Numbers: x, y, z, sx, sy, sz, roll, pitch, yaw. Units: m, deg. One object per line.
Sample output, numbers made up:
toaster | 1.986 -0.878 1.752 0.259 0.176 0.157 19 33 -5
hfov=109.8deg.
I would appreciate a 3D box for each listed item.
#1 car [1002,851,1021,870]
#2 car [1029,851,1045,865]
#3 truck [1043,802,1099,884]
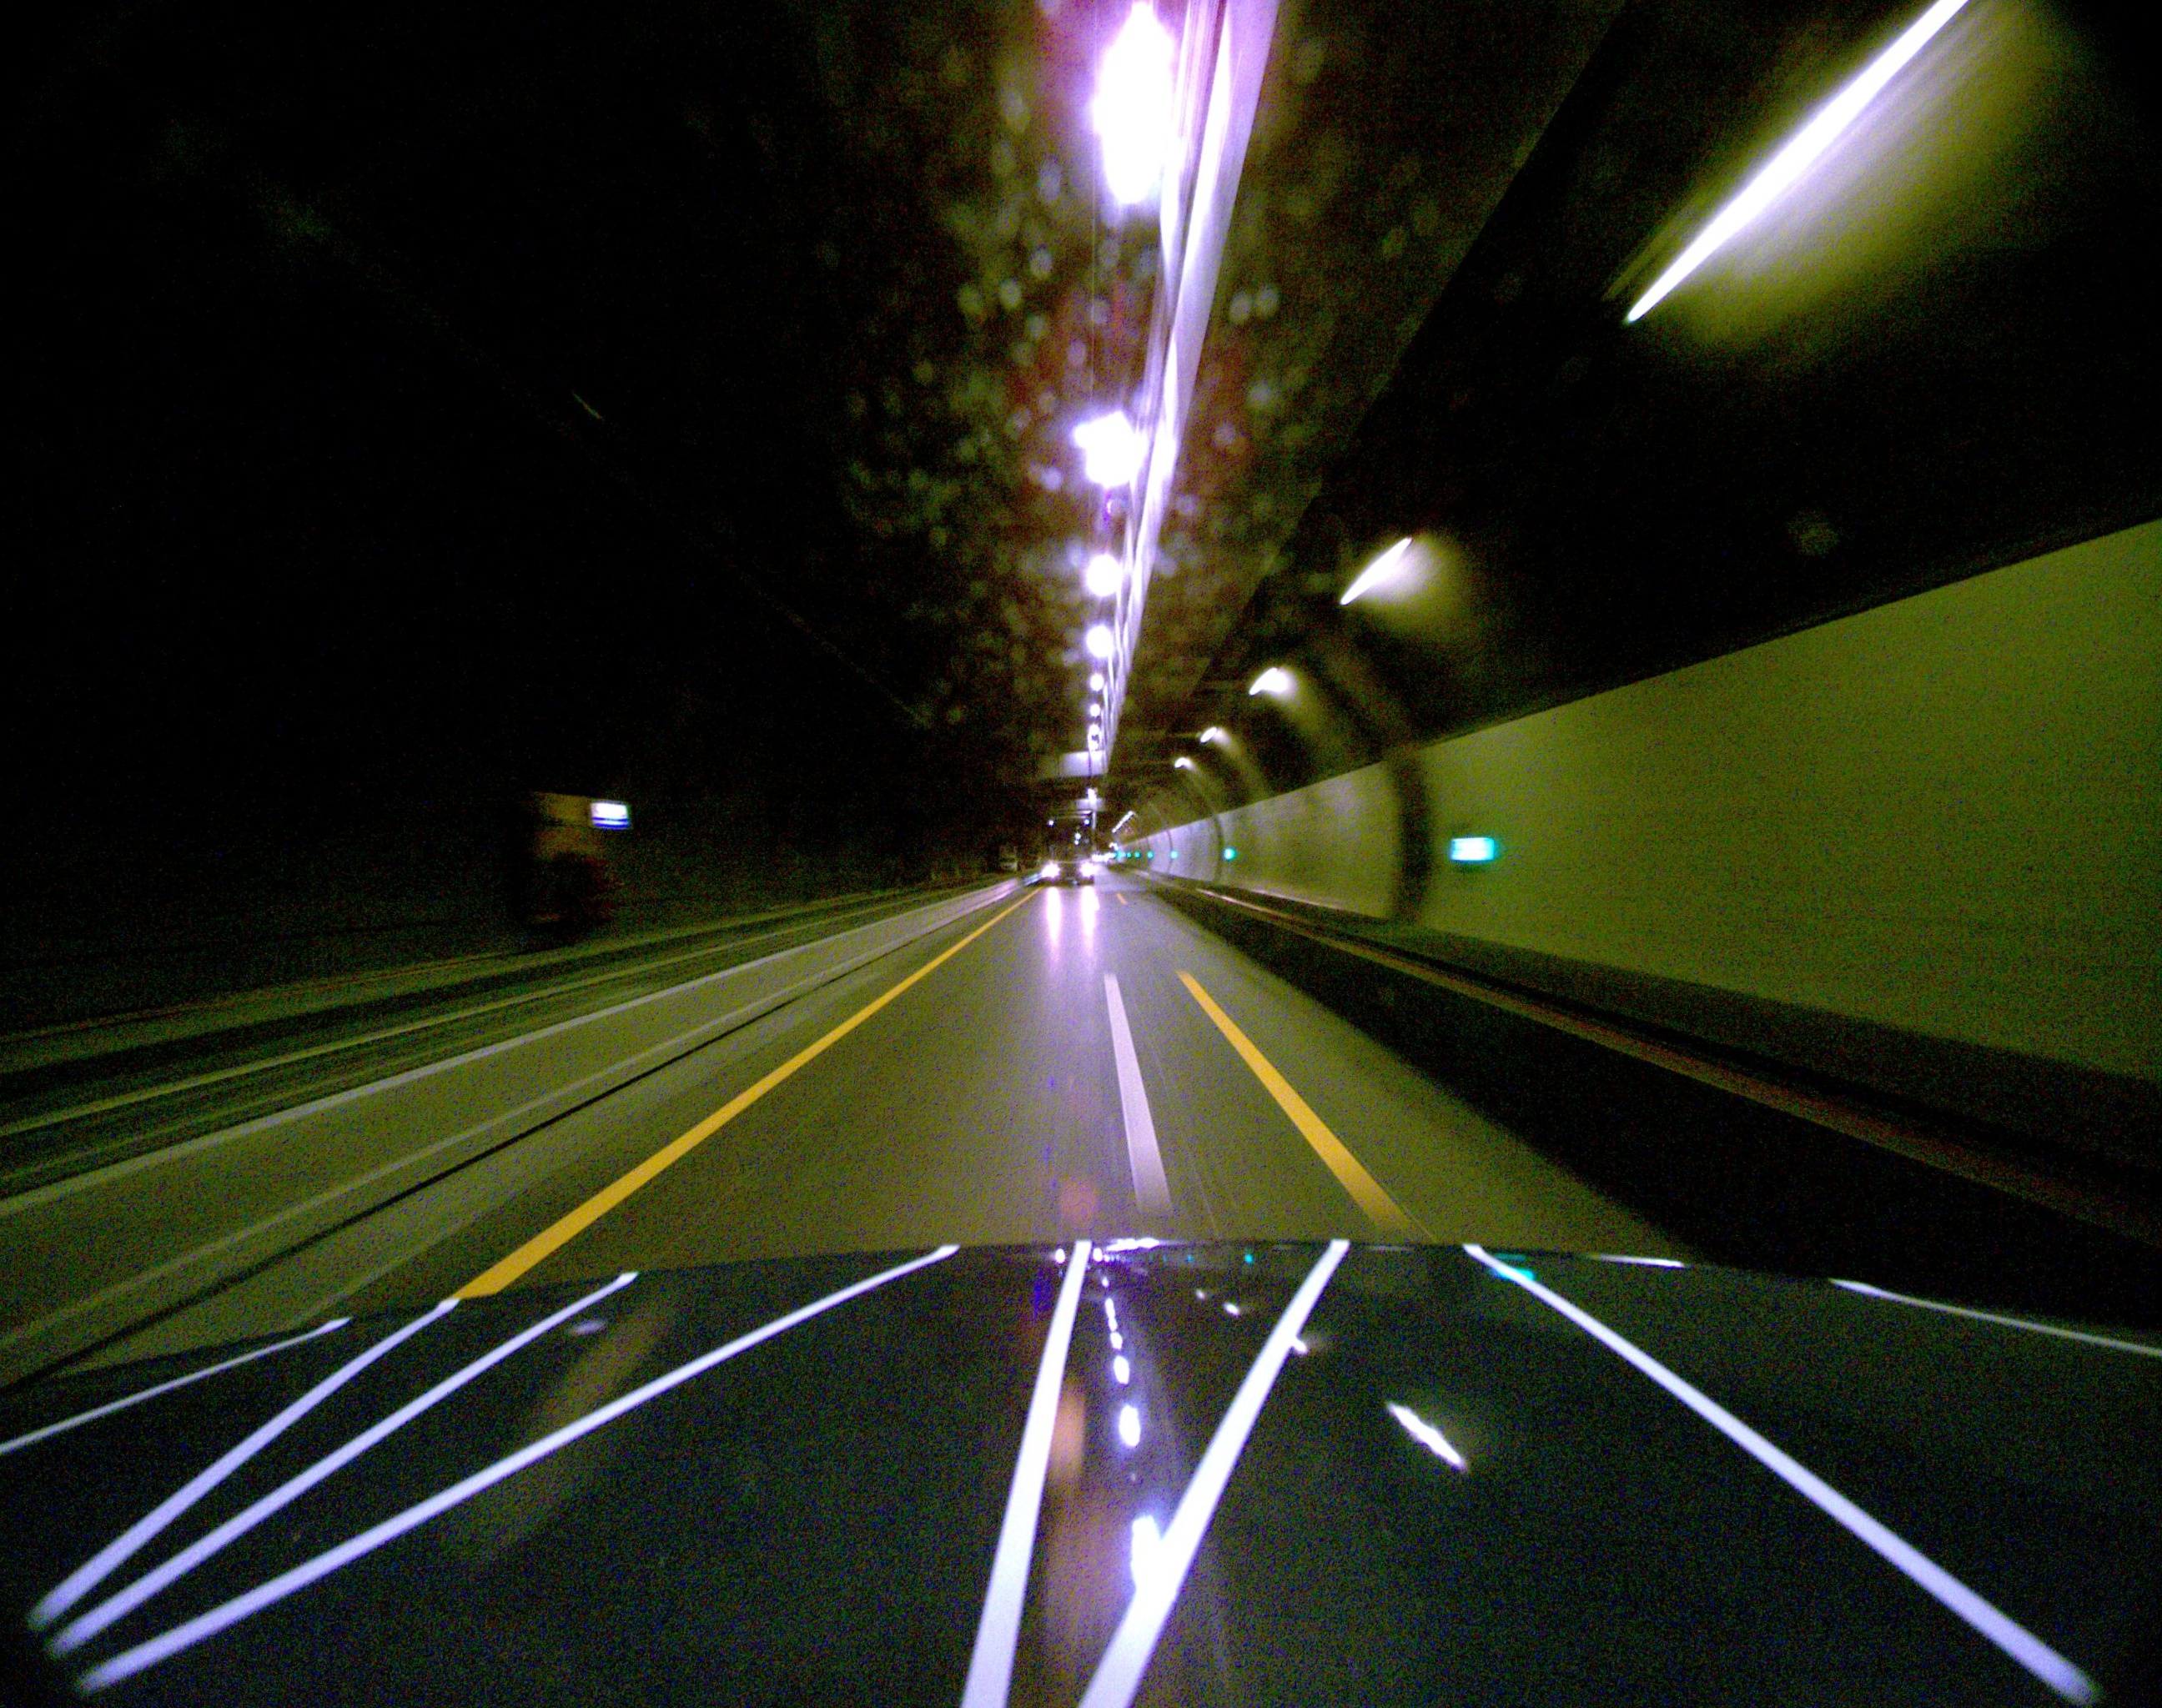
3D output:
car | -7.110 0.613 78.269 1.756 1.834 4.644 -1 0 -3
car | -6.225 0.530 108.302 1.832 1.848 5.441 -3 0 0
truck | -0.430 -0.609 43.307 2.769 4.198 7.977 -1 1 1
